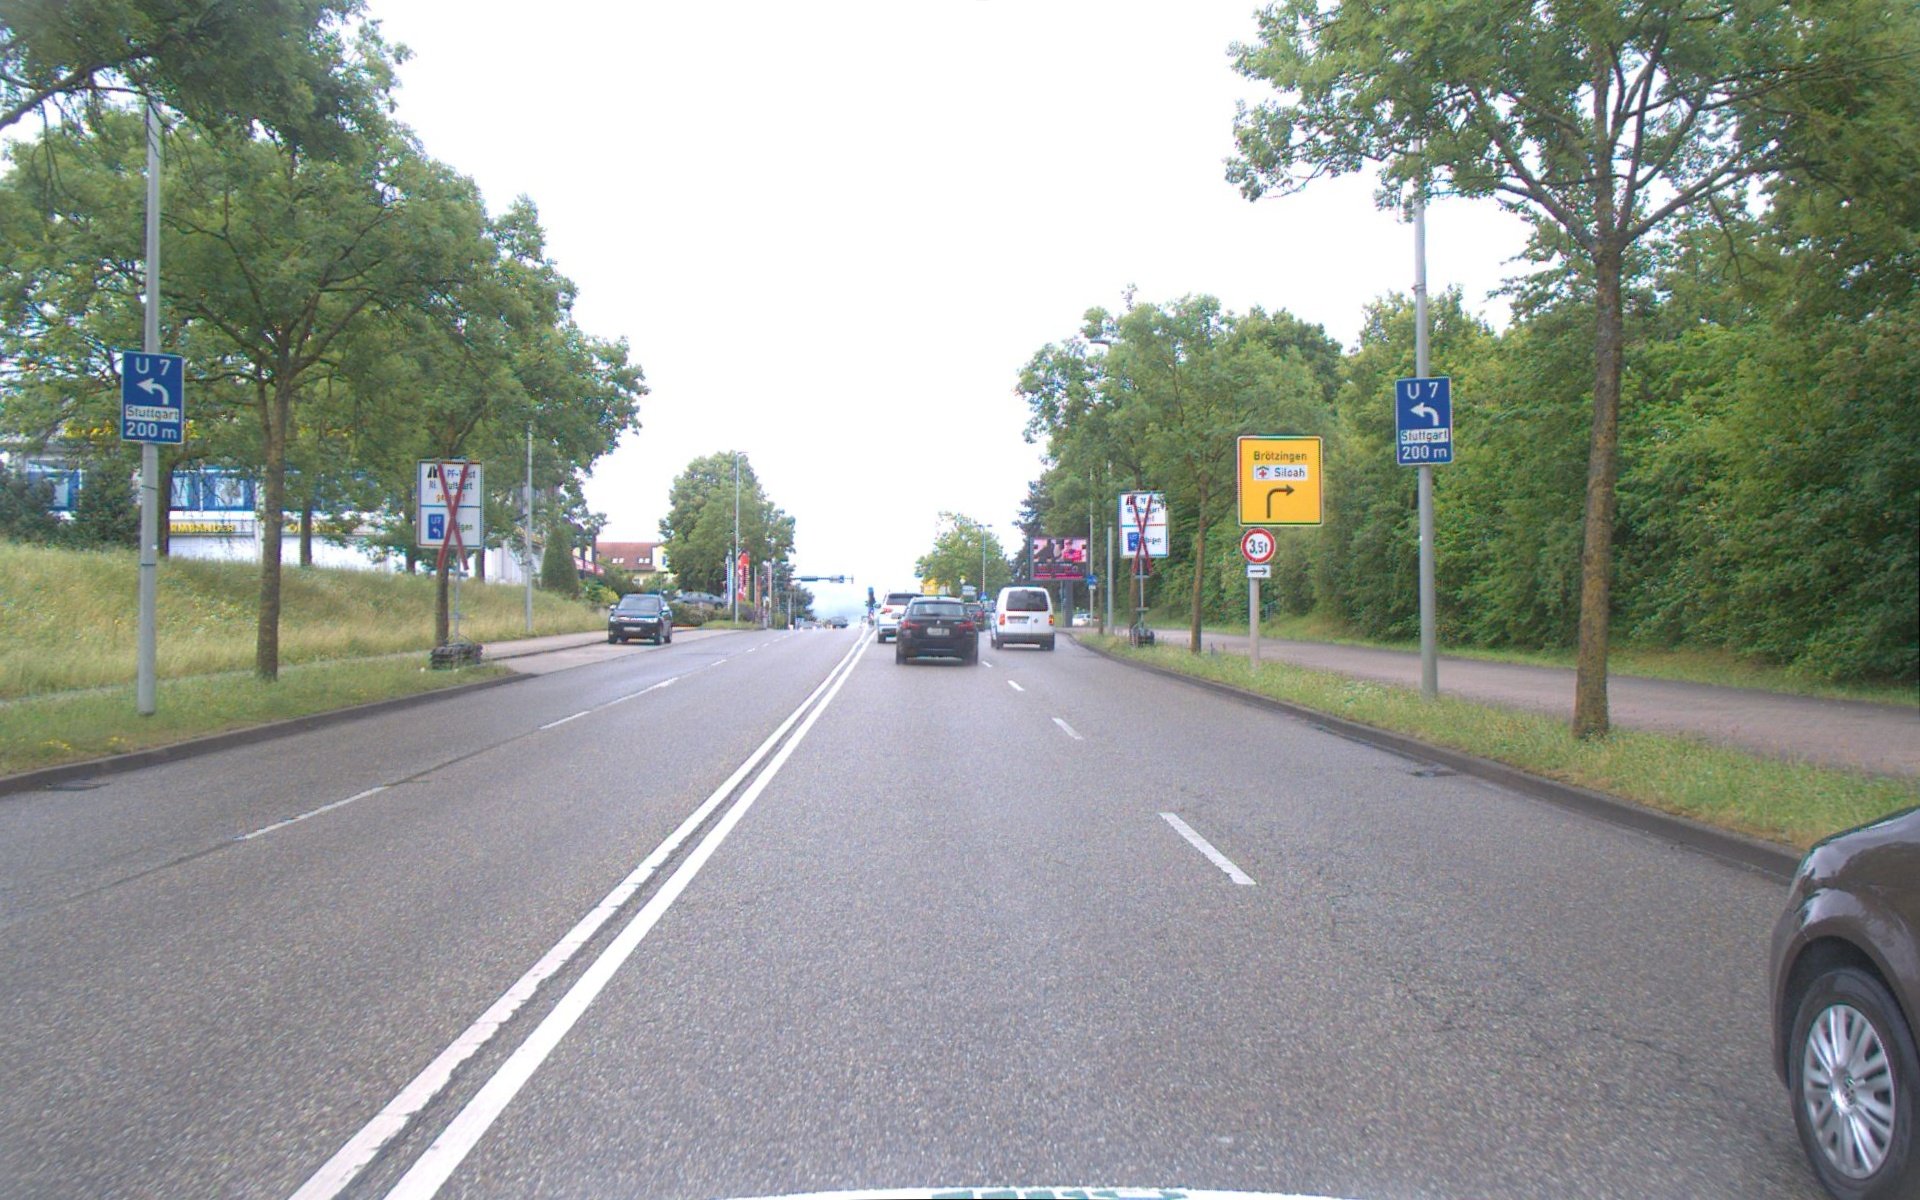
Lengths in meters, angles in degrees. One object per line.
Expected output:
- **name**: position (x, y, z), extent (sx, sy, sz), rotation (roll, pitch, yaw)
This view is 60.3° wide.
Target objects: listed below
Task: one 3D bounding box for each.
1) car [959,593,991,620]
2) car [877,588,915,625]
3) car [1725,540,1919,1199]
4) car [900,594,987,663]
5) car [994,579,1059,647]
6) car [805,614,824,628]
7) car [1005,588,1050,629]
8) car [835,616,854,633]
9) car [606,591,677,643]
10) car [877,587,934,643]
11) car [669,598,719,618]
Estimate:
- **car**: position (0.768, 0.349, 87.874), extent (1.568, 1.396, 3.679), rotation (-1, 0, -1)
- **car**: position (-3.096, 0.306, 80.290), extent (1.722, 1.738, 3.945), rotation (0, 0, -1)
- **car**: position (3.151, 0.674, 2.853), extent (1.679, 1.624, 4.129), rotation (1, 0, -1)
- **car**: position (-0.350, 0.602, 37.267), extent (1.817, 1.444, 3.956), rotation (1, 0, 0)
- **car**: position (1.935, 0.373, 49.223), extent (1.706, 1.902, 3.945), rotation (1, 0, -1)
- **car**: position (-15.719, 2.272, 179.035), extent (1.757, 1.426, 4.298), rotation (-1, 0, -2)
- **car**: position (2.908, 0.357, 72.256), extent (1.777, 1.738, 3.945), rotation (0, 0, -1)
- **car**: position (-11.649, 2.424, 166.962), extent (1.760, 1.611, 4.195), rotation (-1, 0, -4)
- **car**: position (-11.001, 0.556, 57.350), extent (1.691, 1.697, 4.486), rotation (1, 0, -2)
- **car**: position (-1.760, 0.486, 54.216), extent (1.693, 1.741, 3.382), rotation (1, 0, 1)
- **car**: position (-20.635, 0.604, 128.296), extent (3.756, 1.508, 1.738), rotation (0, -1, -10)
